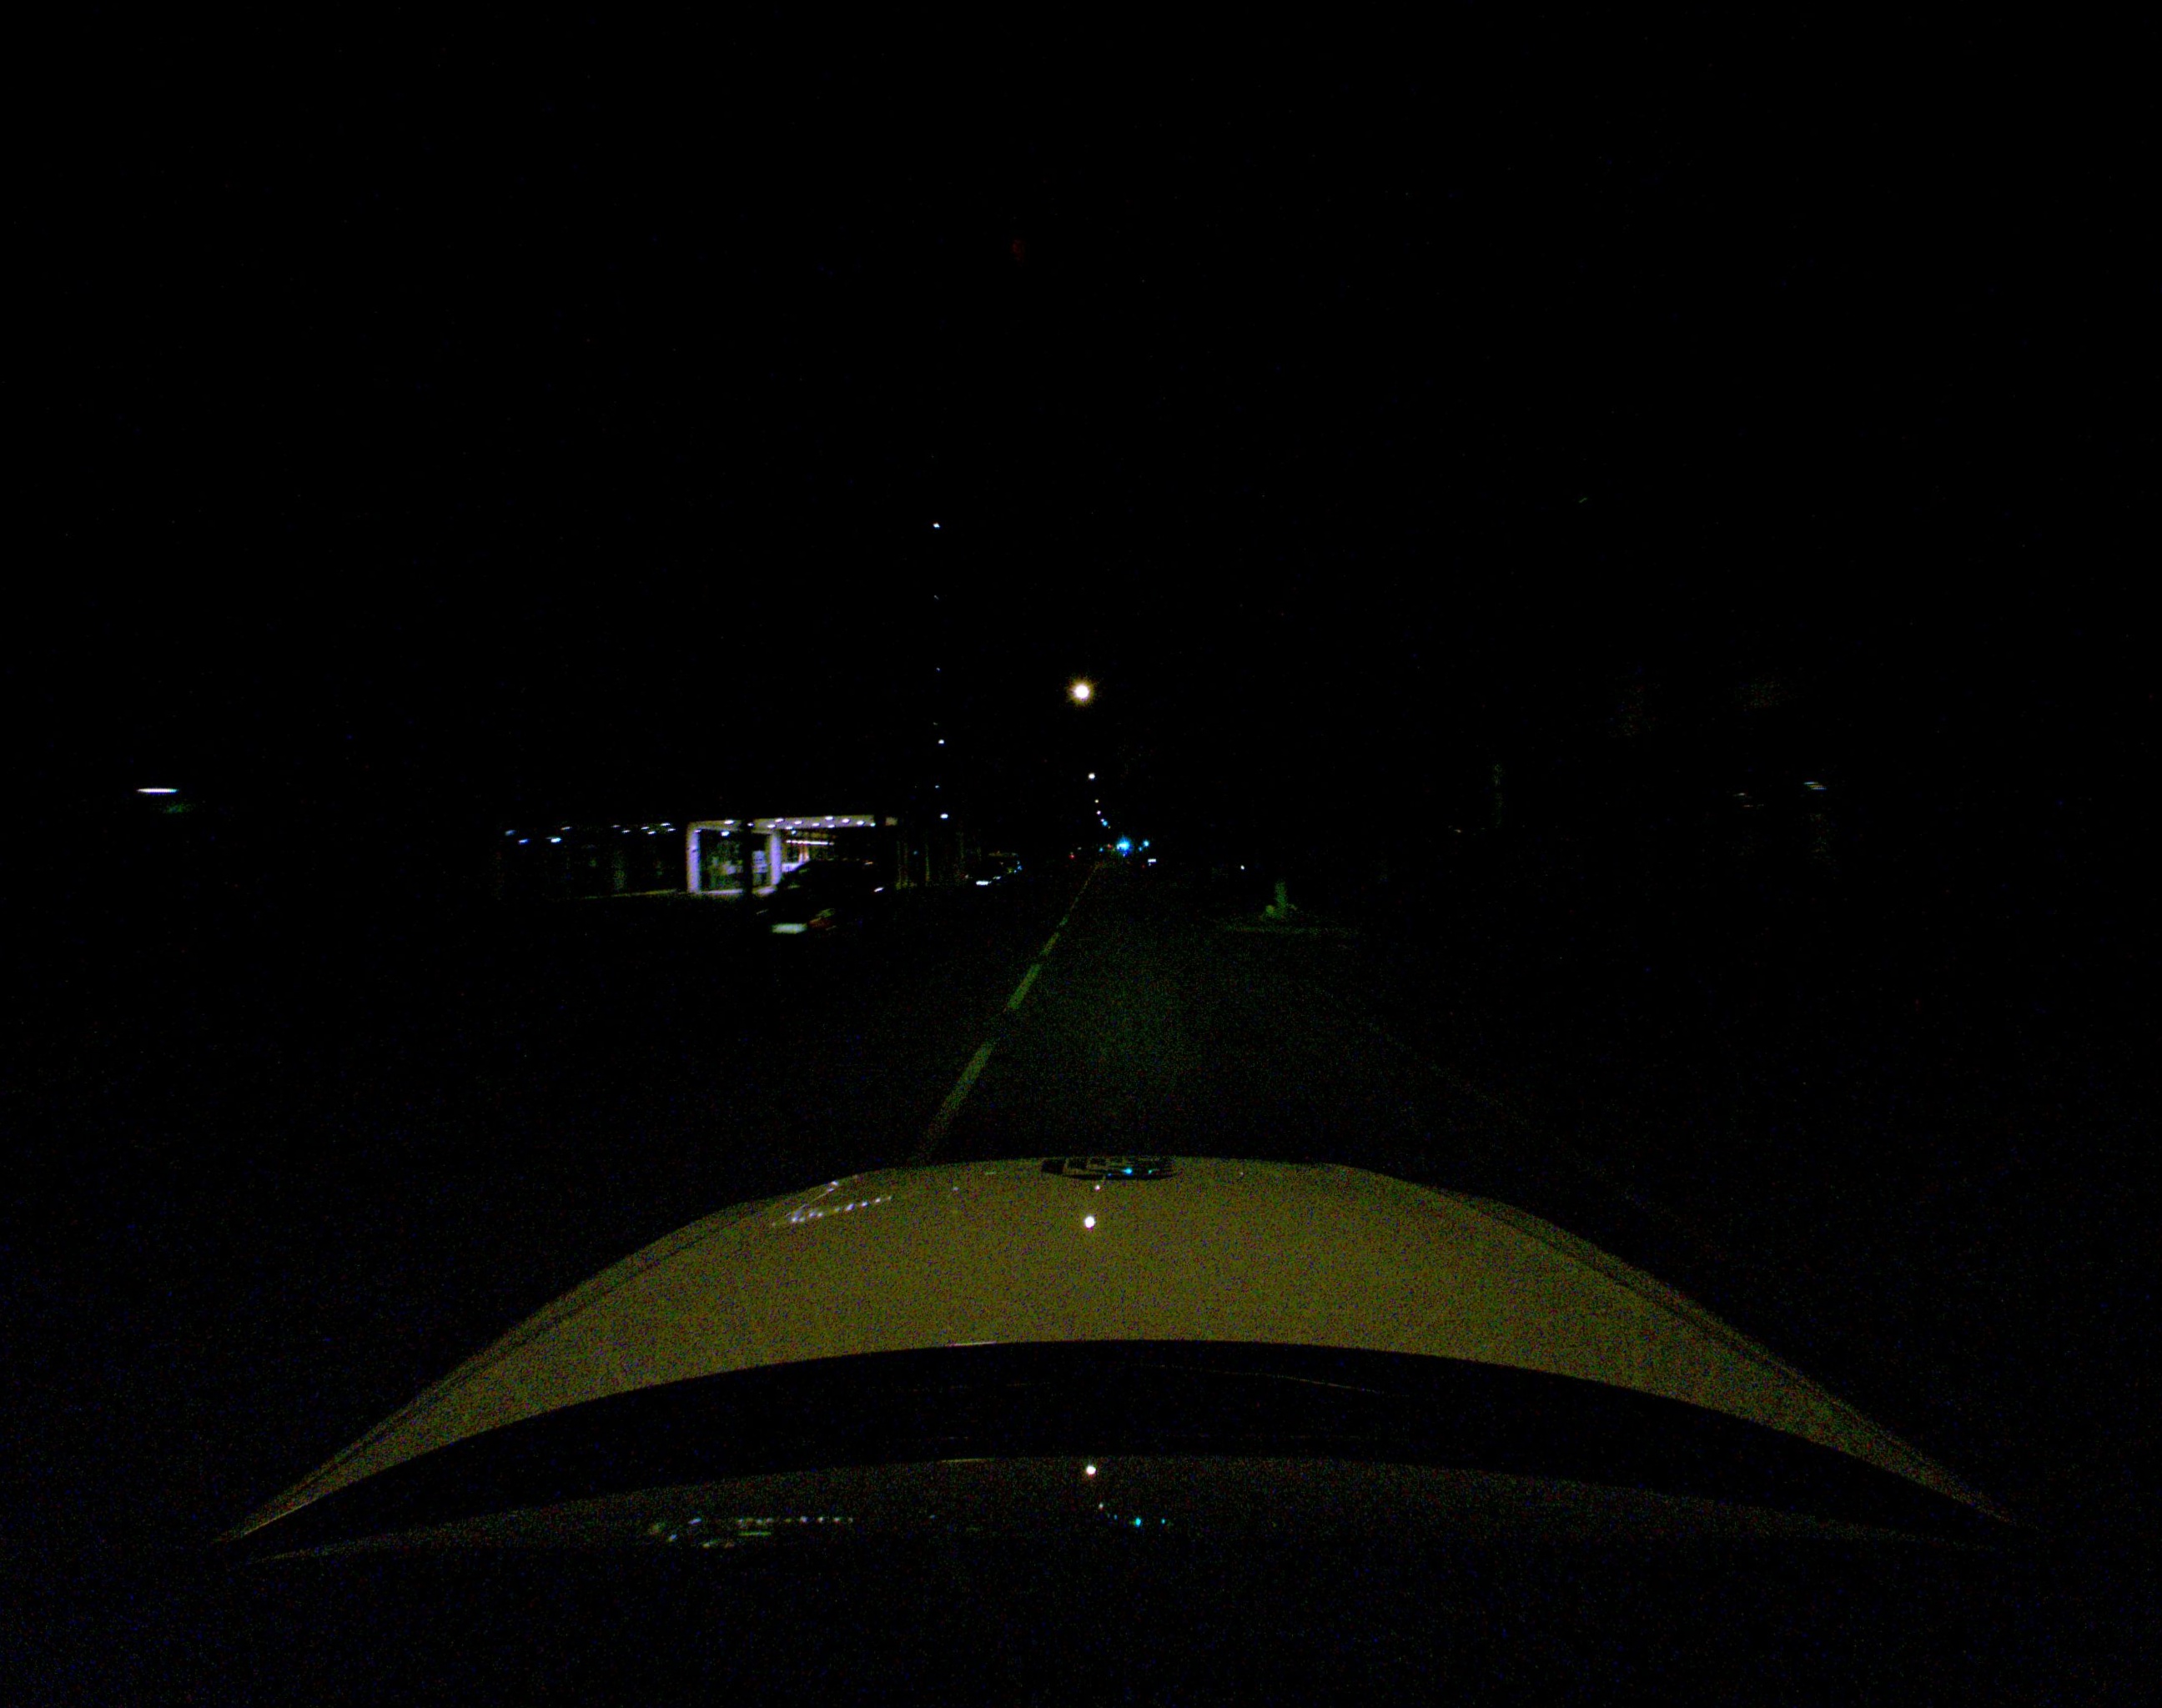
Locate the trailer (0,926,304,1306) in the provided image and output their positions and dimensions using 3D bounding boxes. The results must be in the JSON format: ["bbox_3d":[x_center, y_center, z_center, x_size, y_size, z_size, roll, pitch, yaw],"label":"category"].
[{"bbox_3d":[-5.277,1.061,1.590,2.102,1.335,5.439,0,0,3],"label":"trailer"}]

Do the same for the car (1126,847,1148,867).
[{"bbox_3d":[5.409,0.294,79.218,1.766,1.806,4.276,-4,0,-1],"label":"car"}]

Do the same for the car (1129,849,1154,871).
[{"bbox_3d":[4.829,0.434,64.961,1.844,1.604,4.215,-2,0,5],"label":"car"}]

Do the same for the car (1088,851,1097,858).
[{"bbox_3d":[2.577,0.164,181.068,1.734,1.415,3.754,-1,2,2],"label":"car"}]

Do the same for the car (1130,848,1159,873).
[{"bbox_3d":[4.530,0.429,58.753,1.846,1.654,4.211,-4,0,2],"label":"car"}]

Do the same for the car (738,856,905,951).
[{"bbox_3d":[-5.000,0.872,16.313,1.815,1.599,4.076,1,0,3],"label":"car"}]

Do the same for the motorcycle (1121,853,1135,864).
[{"bbox_3d":[5.711,0.558,99.365,0.630,1.270,2.077,-2,0,36],"label":"motorcycle"}]

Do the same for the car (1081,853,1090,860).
[{"bbox_3d":[0.878,0.478,166.915,1.734,1.416,3.754,-2,0,2],"label":"car"}]

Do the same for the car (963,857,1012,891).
[{"bbox_3d":[-4.361,0.904,38.323,1.693,1.433,3.830,1,0,2],"label":"car"}]

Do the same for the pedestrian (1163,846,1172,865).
[{"bbox_3d":[7.821,0.148,73.594,0.703,1.721,0.822,-3,0,2],"label":"pedestrian"}]

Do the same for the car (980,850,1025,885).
[{"bbox_3d":[-4.214,0.695,44.440,1.815,1.811,4.213,1,0,3],"label":"car"}]

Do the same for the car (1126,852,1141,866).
[{"bbox_3d":[5.579,0.520,87.299,1.514,1.396,3.987,-3,0,3],"label":"car"}]
